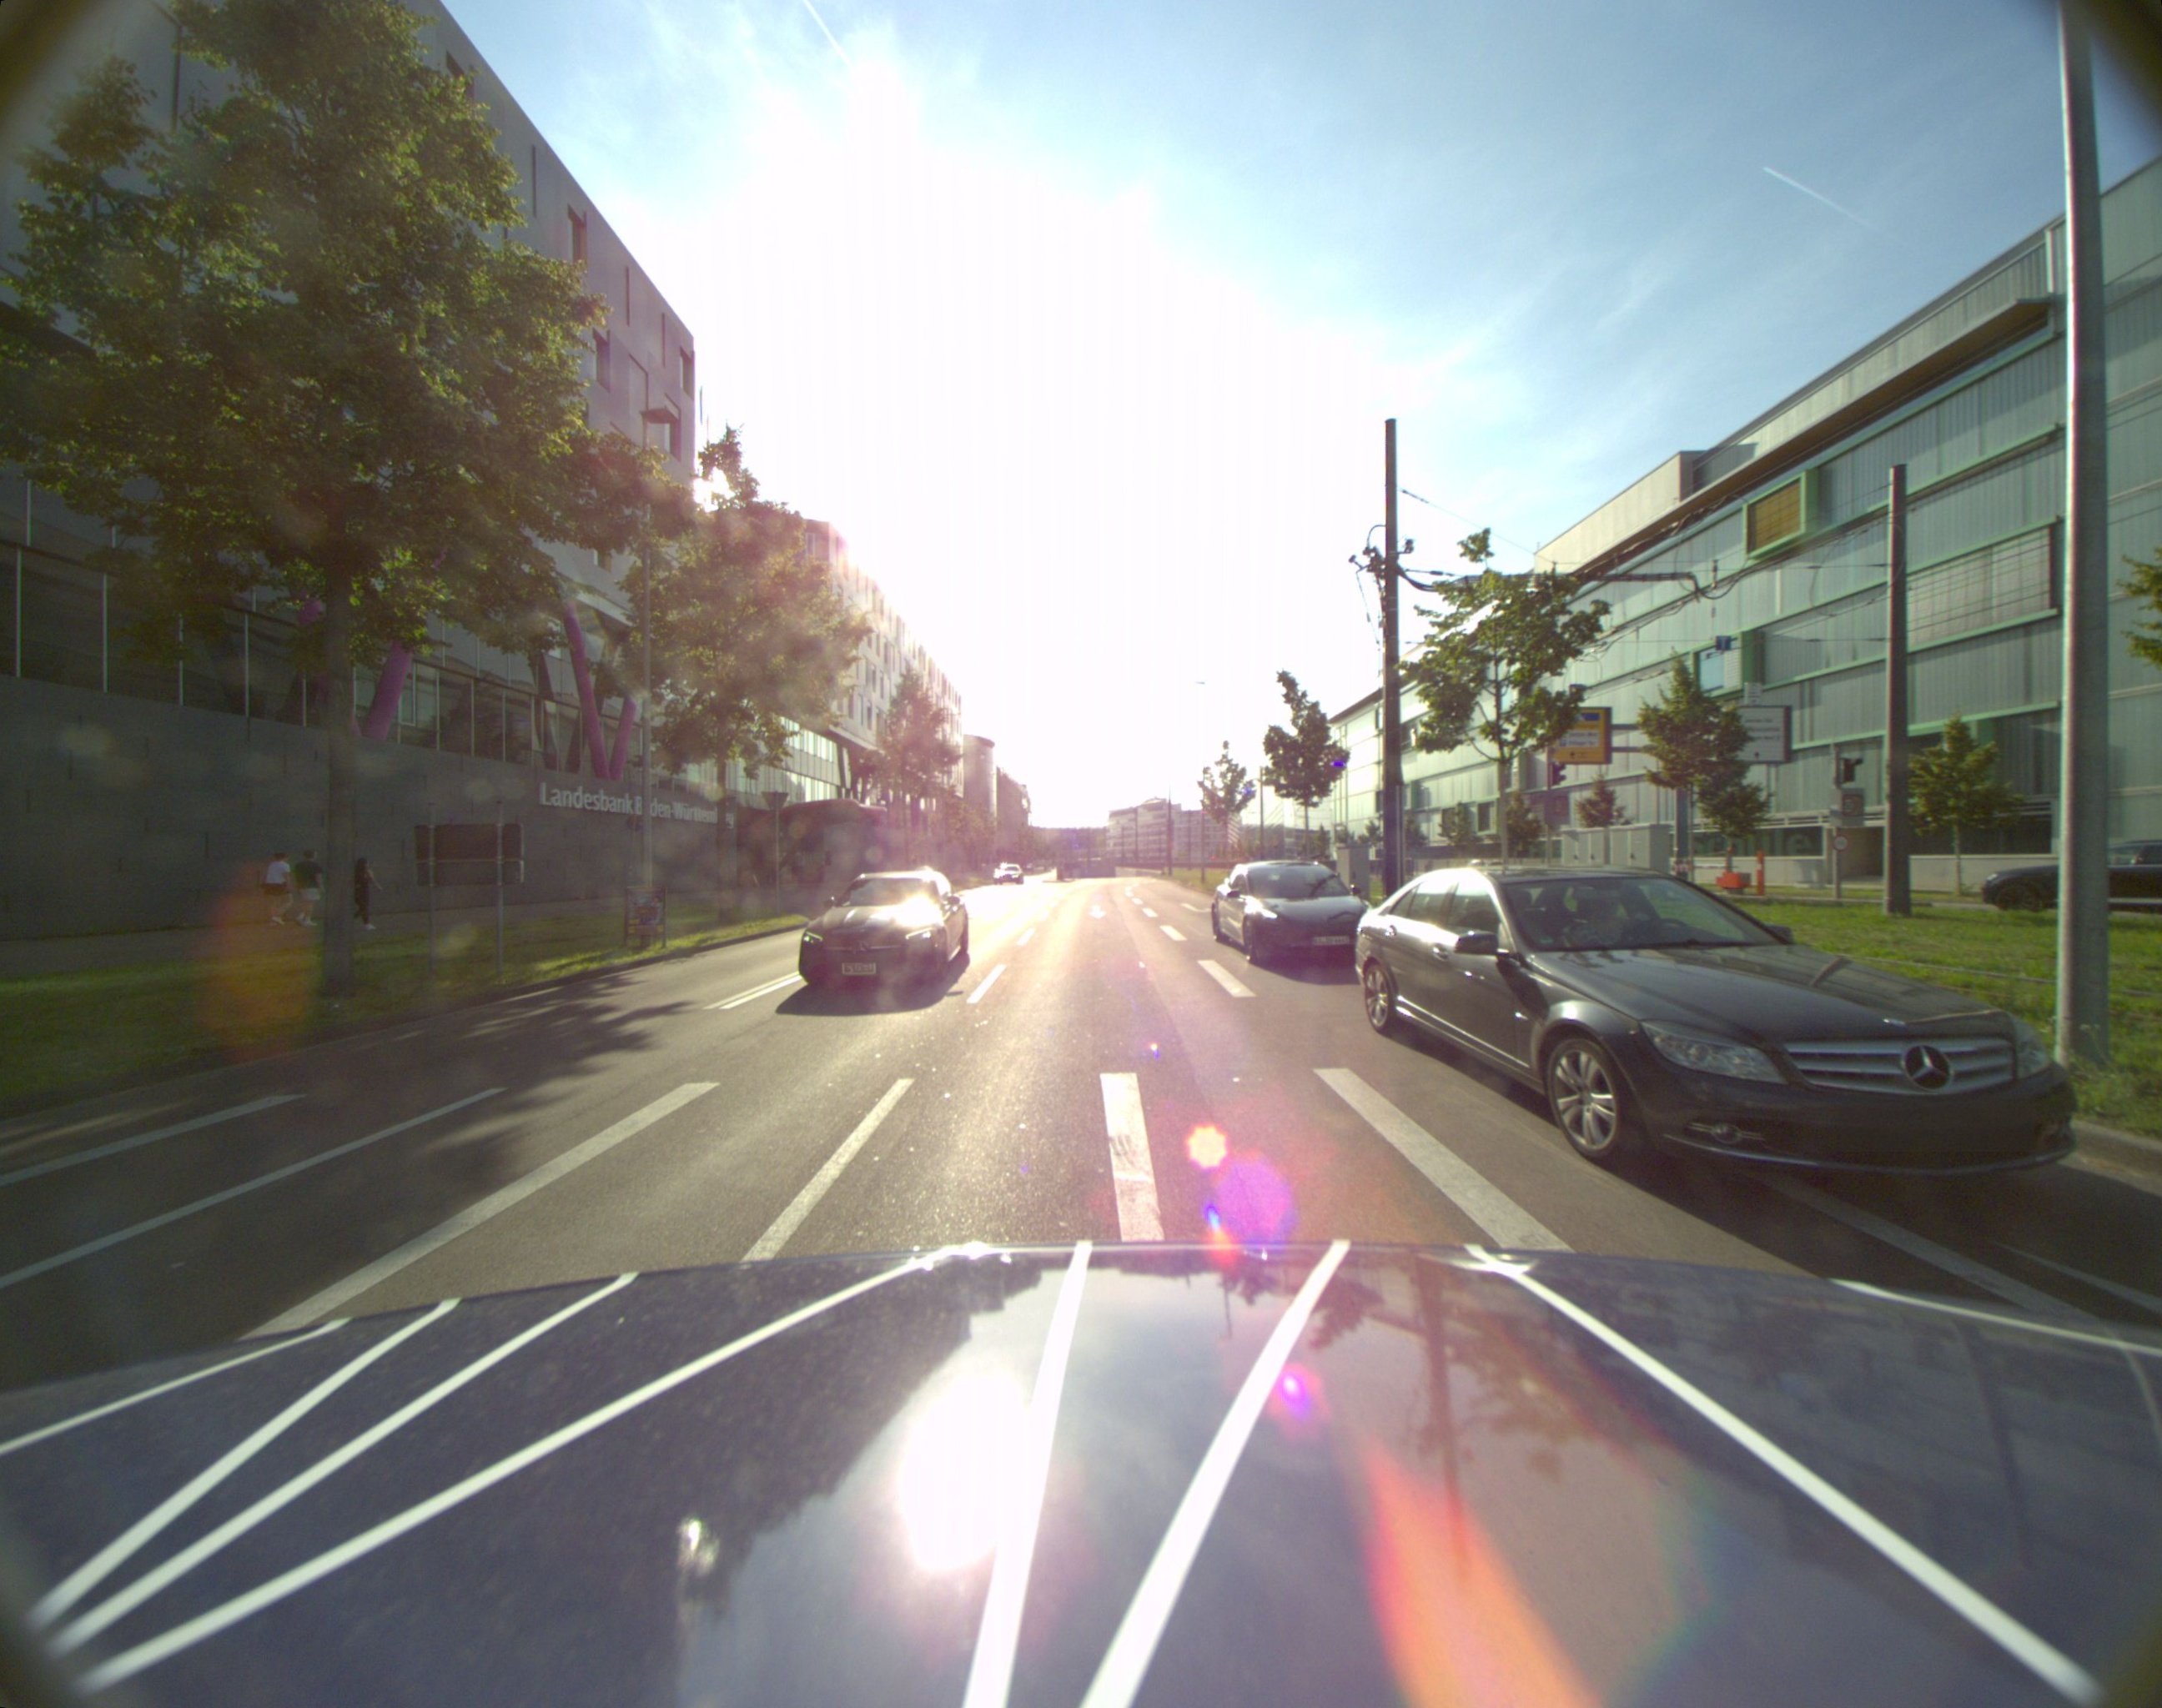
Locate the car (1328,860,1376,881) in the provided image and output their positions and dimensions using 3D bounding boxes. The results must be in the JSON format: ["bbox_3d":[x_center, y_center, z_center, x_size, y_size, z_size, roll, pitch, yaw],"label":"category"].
[{"bbox_3d":[20.131,1.207,56.619,1.998,1.519,4.312,0,0,0],"label":"car"}]

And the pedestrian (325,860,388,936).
[{"bbox_3d":[-15.954,0.960,16.746,0.695,1.629,0.736,0,0,0],"label":"pedestrian"}]

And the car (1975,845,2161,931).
[{"bbox_3d":[22.060,0.656,15.339,1.999,1.674,4.993,0,0,-4],"label":"car"}]

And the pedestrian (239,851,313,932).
[{"bbox_3d":[-18.640,0.854,17.613,0.770,1.814,0.853,1,0,0],"label":"pedestrian"}]

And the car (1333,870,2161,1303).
[{"bbox_3d":[3.276,0.899,4.962,1.791,1.470,4.354,-2,-1,0],"label":"car"}]

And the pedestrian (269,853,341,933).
[{"bbox_3d":[-17.944,0.881,17.589,0.756,1.783,0.844,1,0,0],"label":"pedestrian"}]

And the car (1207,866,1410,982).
[{"bbox_3d":[3.262,0.932,11.866,1.894,1.377,4.335,-2,-1,1],"label":"car"}]

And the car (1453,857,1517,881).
[{"bbox_3d":[27.310,0.990,51.520,1.911,1.519,4.441,0,0,-1],"label":"car"}]

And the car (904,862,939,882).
[{"bbox_3d":[-11.541,1.310,55.104,1.696,1.382,4.199,0,-1,0],"label":"car"}]

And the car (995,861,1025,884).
[{"bbox_3d":[-5.140,1.288,55.274,1.895,1.418,4.470,-1,2,-3],"label":"car"}]

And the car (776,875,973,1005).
[{"bbox_3d":[-2.803,1.097,11.396,1.844,1.441,4.555,-2,-1,-2],"label":"car"}]
